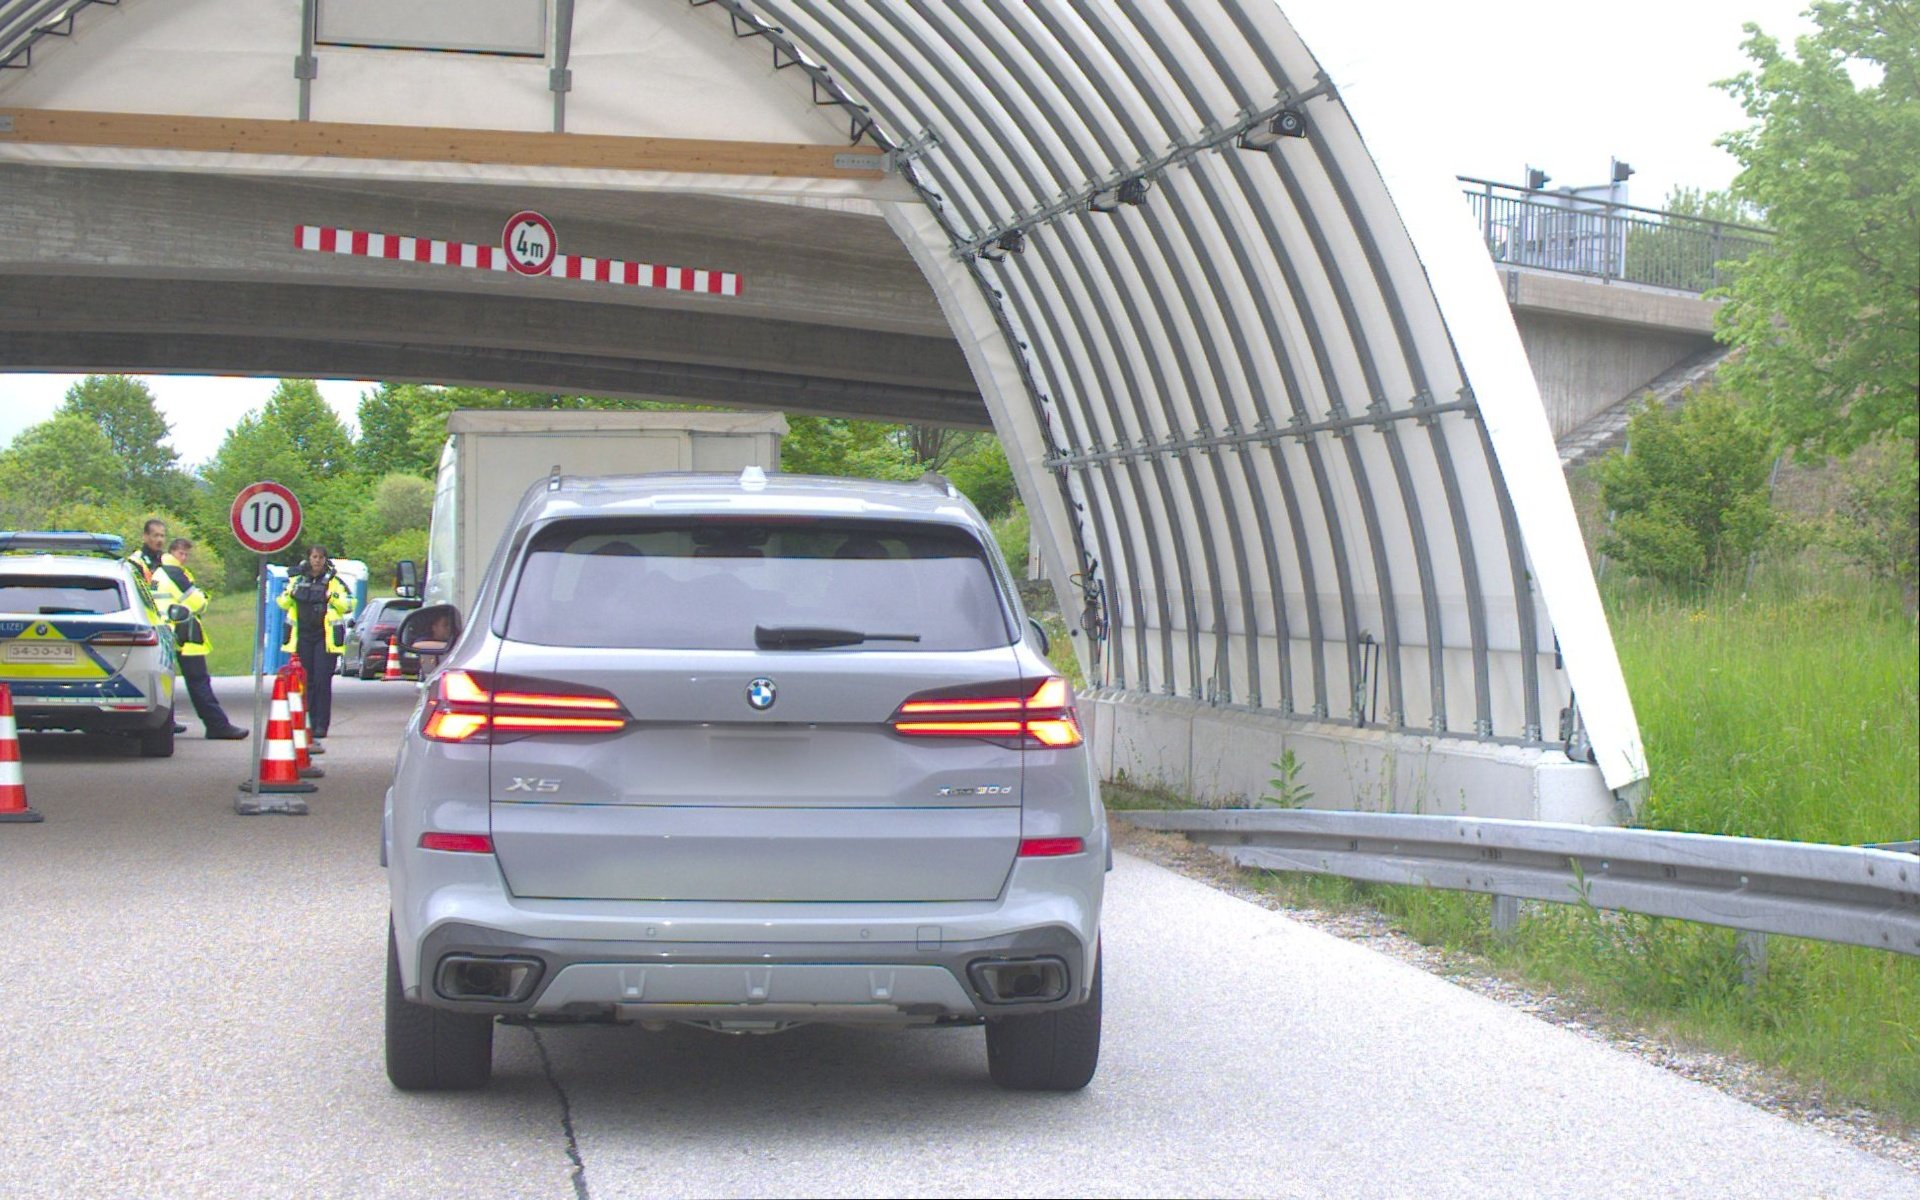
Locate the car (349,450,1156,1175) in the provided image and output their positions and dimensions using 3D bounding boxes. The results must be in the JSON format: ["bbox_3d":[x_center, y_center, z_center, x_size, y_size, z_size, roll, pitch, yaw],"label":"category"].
[{"bbox_3d":[-0.814,0.497,10.473,1.993,1.759,4.001,0,0,-9],"label":"car"}]

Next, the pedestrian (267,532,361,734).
[{"bbox_3d":[-5.583,0.277,29.686,0.779,1.716,0.757,0,0,-11],"label":"pedestrian"}]

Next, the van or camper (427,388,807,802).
[{"bbox_3d":[-2.614,-0.058,24.519,2.229,2.543,6.612,0,0,-10],"label":"van or camper"}]

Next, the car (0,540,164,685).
[{"bbox_3d":[-13.973,0.162,48.973,4.807,2.007,1.840,0,0,7],"label":"car"}]

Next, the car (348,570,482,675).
[{"bbox_3d":[-9.302,0.353,58.496,1.993,1.716,3.897,0,0,-13],"label":"car"}]

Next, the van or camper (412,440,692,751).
[{"bbox_3d":[-3.734,-0.058,30.592,2.103,2.510,5.552,0,0,-11],"label":"van or camper"}]

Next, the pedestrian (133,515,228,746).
[{"bbox_3d":[-6.564,0.249,28.941,0.749,1.912,0.763,0,0,-15],"label":"pedestrian"}]

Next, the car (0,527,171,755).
[{"bbox_3d":[-7.167,0.279,26.756,1.877,1.641,4.001,0,0,-15],"label":"car"}]

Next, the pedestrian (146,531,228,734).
[{"bbox_3d":[-6.729,0.280,29.953,0.609,1.748,0.666,0,0,-6],"label":"pedestrian"}]
